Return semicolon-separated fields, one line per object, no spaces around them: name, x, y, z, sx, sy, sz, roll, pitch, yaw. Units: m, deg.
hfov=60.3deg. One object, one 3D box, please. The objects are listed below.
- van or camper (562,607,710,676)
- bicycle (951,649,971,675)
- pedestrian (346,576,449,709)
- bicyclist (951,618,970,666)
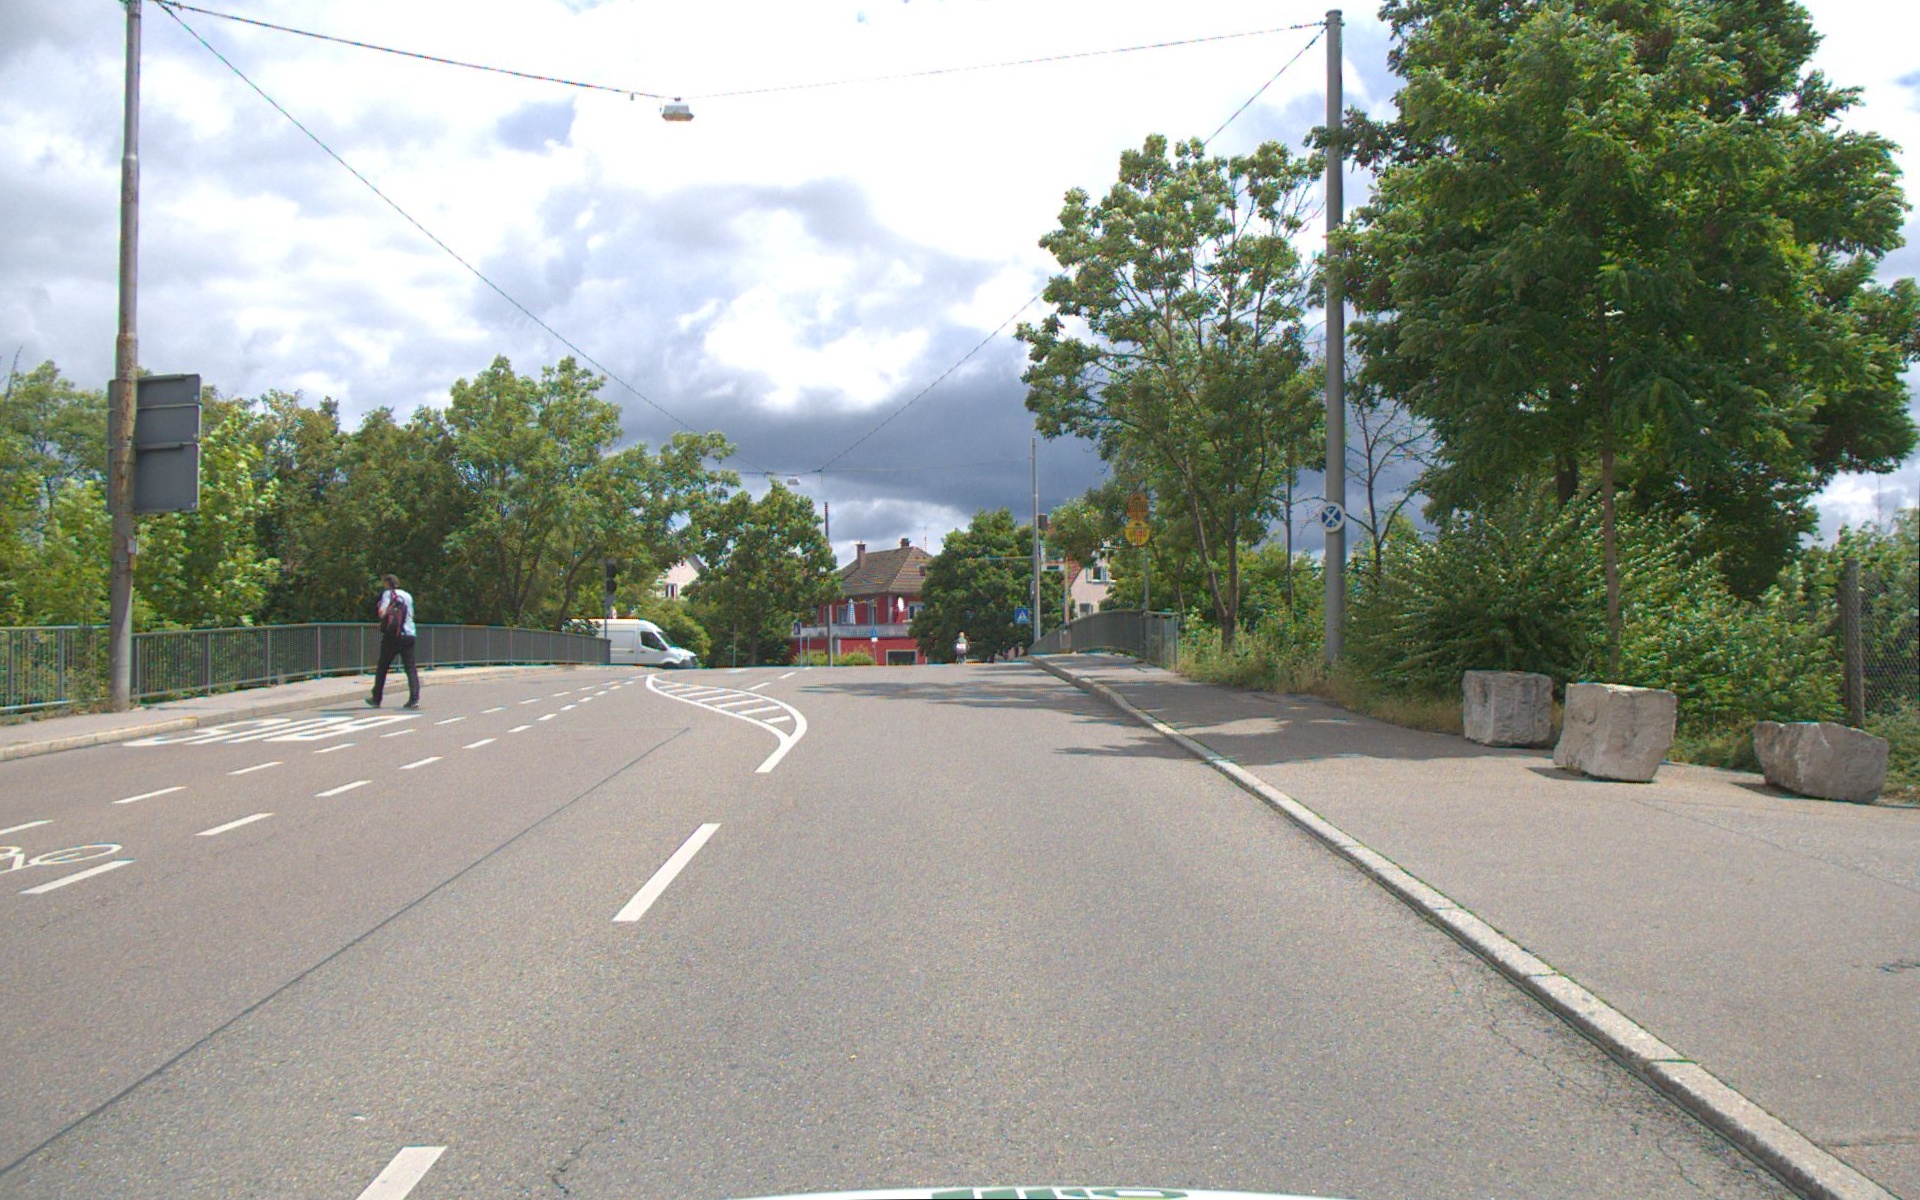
van or camper;-13.728;1.798;70.295;5.787;2.612;2.193;-2;-4;1
bicycle;0.044;2.507;66.258;0.673;0.894;2.102;0;-6;4
pedestrian;-8.132;0.605;23.921;1.015;1.869;0.996;0;-1;33
bicyclist;0.027;1.683;66.226;0.670;1.858;1.080;0;-6;4
